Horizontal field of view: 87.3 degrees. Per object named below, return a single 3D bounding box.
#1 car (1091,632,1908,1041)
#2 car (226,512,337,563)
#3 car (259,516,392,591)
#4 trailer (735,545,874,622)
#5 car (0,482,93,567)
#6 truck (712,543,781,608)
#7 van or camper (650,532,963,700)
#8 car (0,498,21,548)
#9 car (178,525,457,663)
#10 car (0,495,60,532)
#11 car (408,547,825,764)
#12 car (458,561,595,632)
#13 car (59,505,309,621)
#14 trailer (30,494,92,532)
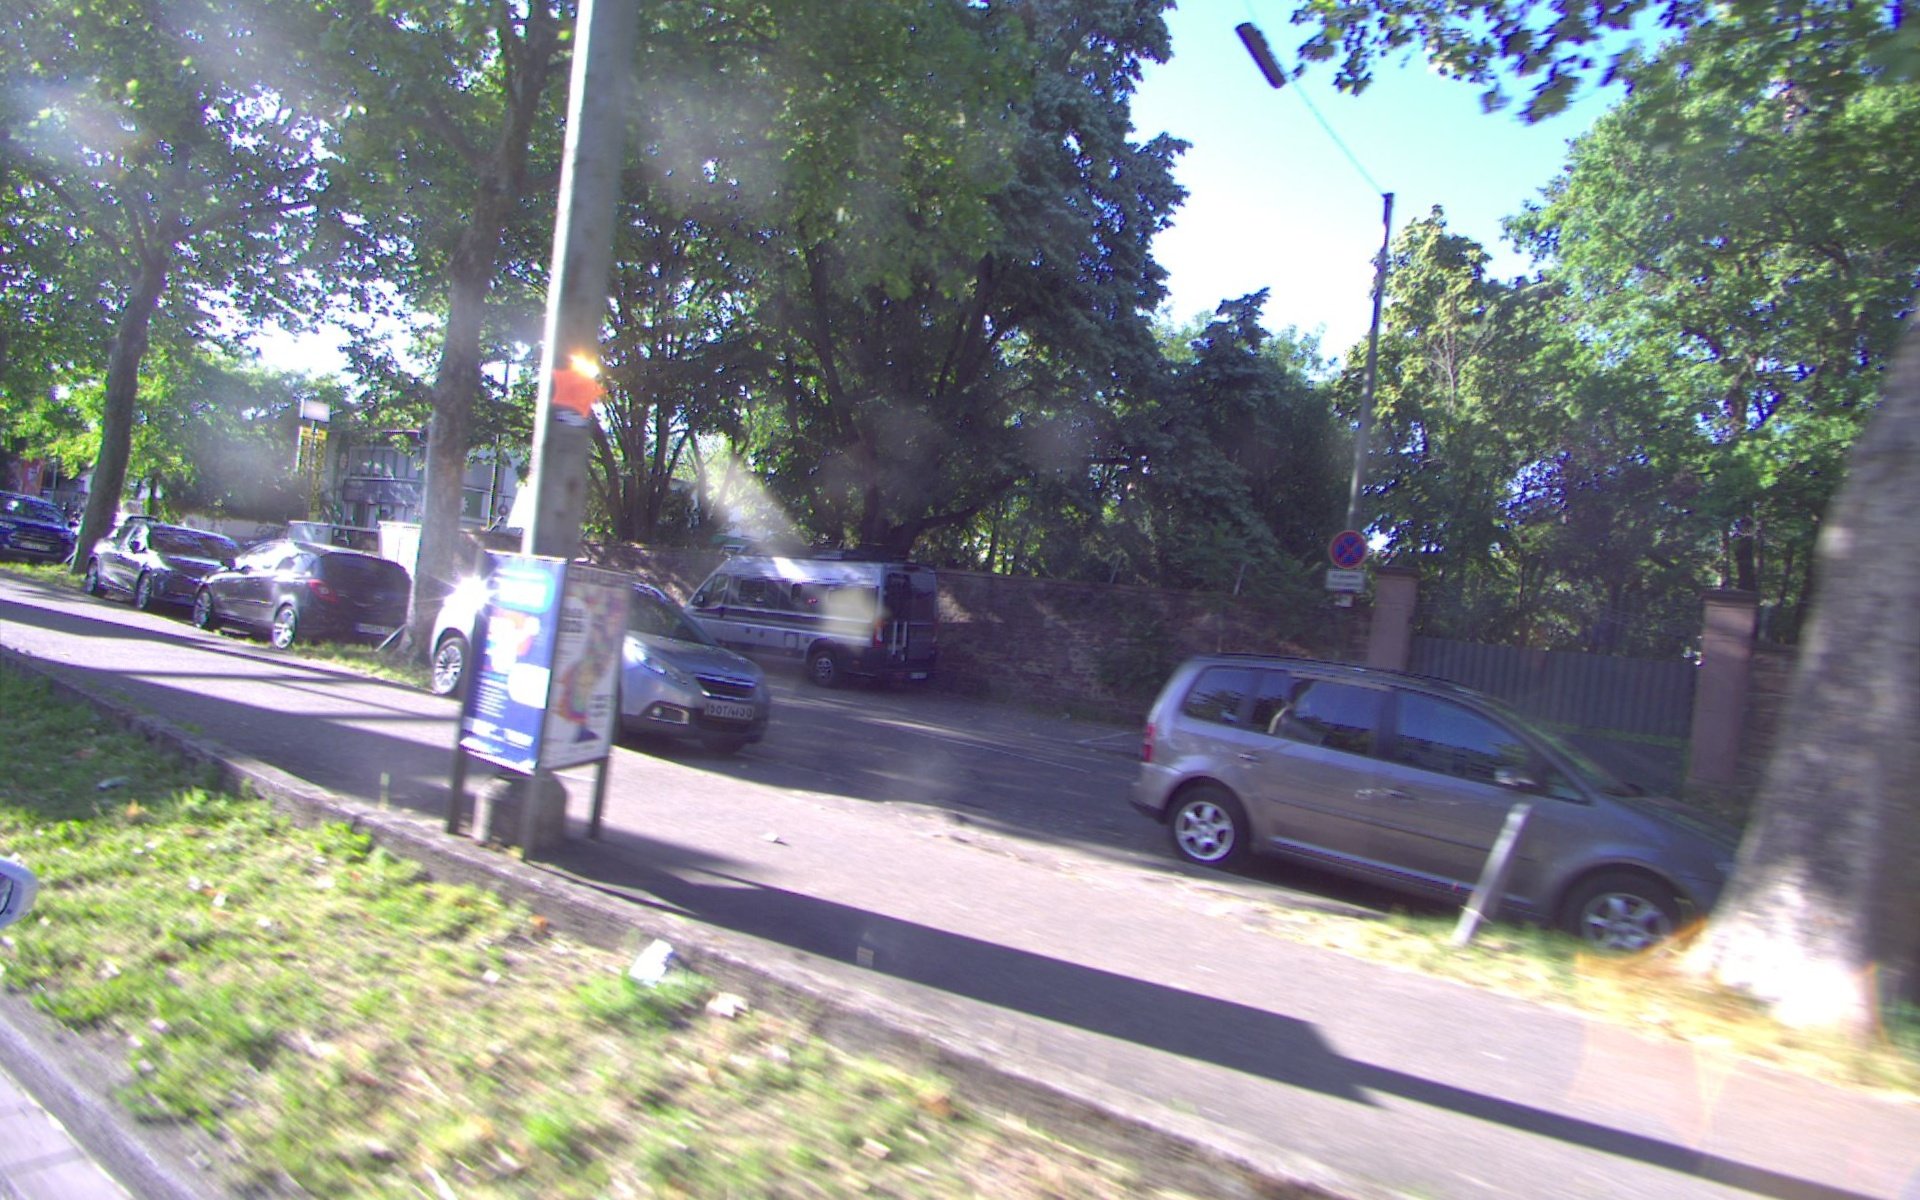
[{"bbox_3d":[3.455,1.351,7.231,4.556,1.653,1.794,6,-2,36],"label":"car"},{"bbox_3d":[-33.986,-3.104,50.474,1.819,1.871,4.091,6,-3,32],"label":"car"},{"bbox_3d":[-21.816,-1.627,34.548,4.866,2.038,2.087,6,-1,36],"label":"car"},{"bbox_3d":[-9.605,-0.962,63.313,2.645,3.604,8.786,6,-3,39],"label":"trailer"},{"bbox_3d":[-22.744,-1.883,24.098,4.282,1.661,1.740,6,-2,33],"label":"car"},{"bbox_3d":[-12.641,-1.428,59.520,2.675,3.307,2.482,8,-1,39],"label":"truck"},{"bbox_3d":[-3.403,0.228,21.351,6.463,2.719,2.554,7,2,36],"label":"van or camper"},{"bbox_3d":[-28.458,-2.383,28.293,3.987,1.304,1.997,6,-3,33],"label":"car"},{"bbox_3d":[-9.089,-0.105,14.172,3.821,1.454,1.796,6,-2,33],"label":"car"},{"bbox_3d":[-53.574,-4.957,57.549,3.935,1.658,1.997,6,-2,33],"label":"car"},{"bbox_3d":[-3.526,0.515,10.114,3.957,1.577,1.797,6,-4,35],"label":"car"},{"bbox_3d":[-11.561,-0.111,26.751,3.701,1.491,1.688,6,1,37],"label":"car"},{"bbox_3d":[-13.437,-0.669,17.341,4.603,1.397,1.997,6,-3,35],"label":"car"},{"bbox_3d":[-45.981,-4.467,51.453,2.976,1.662,1.729,6,1,36],"label":"trailer"}]
